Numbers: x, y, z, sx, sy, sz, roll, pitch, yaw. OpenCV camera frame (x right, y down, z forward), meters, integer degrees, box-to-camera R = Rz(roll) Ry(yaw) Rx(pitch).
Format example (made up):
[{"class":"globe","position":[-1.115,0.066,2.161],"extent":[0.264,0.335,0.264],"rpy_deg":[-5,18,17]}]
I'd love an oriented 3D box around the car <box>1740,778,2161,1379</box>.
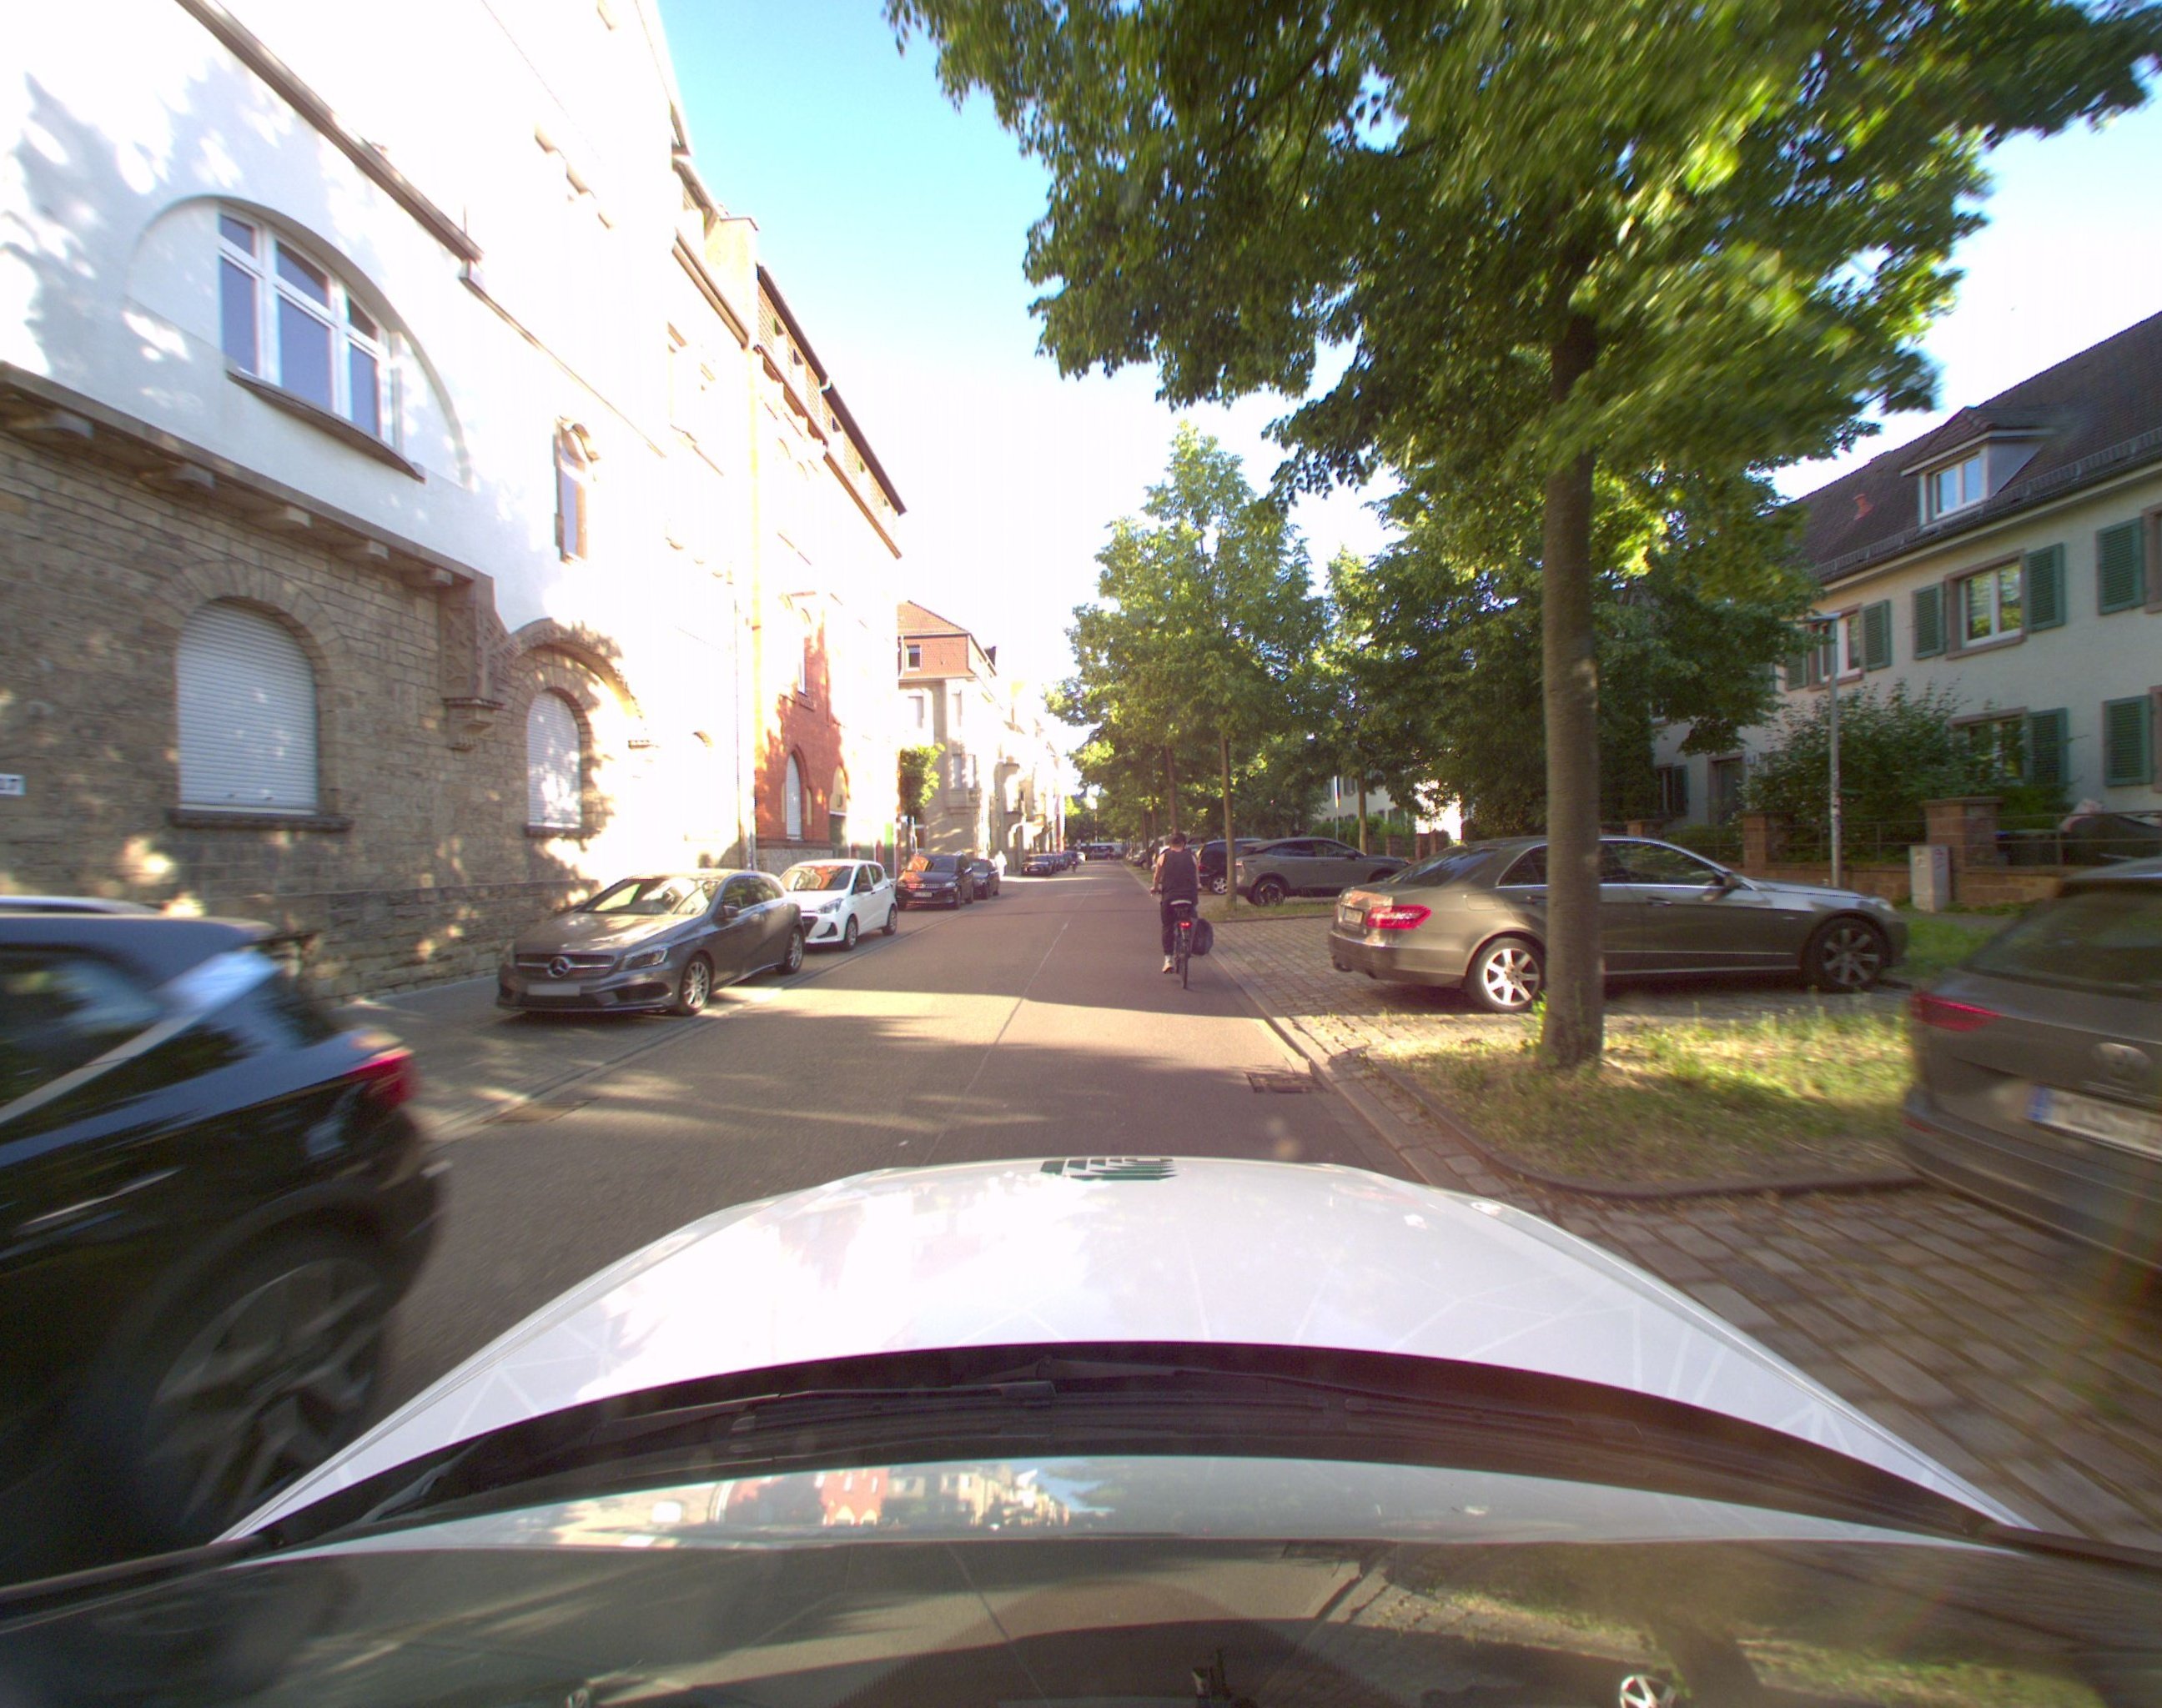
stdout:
[{"class":"car","position":[4.807,0.377,2.207],"extent":[4.459,1.435,1.829],"rpy_deg":[-5,0,1]}]

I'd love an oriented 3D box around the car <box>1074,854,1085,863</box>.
[{"class":"car","position":[-0.272,0.692,133.034],"extent":[1.577,1.375,4.134],"rpy_deg":[1,1,2]}]

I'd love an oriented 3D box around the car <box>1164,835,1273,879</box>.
[{"class":"car","position":[6.297,0.141,37.580],"extent":[4.530,1.633,1.810],"rpy_deg":[-5,0,-4]}]

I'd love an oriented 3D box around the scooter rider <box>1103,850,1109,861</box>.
[{"class":"scooter rider","position":[4.338,0.276,141.472],"extent":[0.869,1.841,0.670],"rpy_deg":[0,-1,-3]}]

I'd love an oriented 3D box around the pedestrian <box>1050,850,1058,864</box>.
[{"class":"pedestrian","position":[-3.377,0.409,103.669],"extent":[0.934,1.742,0.735],"rpy_deg":[0,-1,3]}]

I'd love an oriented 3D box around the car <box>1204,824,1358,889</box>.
[{"class":"car","position":[6.502,0.075,26.830],"extent":[4.562,1.677,1.909],"rpy_deg":[-5,0,3]}]

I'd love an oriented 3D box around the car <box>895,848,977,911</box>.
[{"class":"car","position":[-4.229,0.706,24.398],"extent":[1.664,1.681,4.349],"rpy_deg":[-1,0,0]}]

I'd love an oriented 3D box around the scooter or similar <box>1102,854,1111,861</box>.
[{"class":"scooter or similar","position":[4.397,0.627,141.469],"extent":[1.595,1.147,0.677],"rpy_deg":[0,-1,-4]}]

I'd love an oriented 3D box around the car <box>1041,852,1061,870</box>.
[{"class":"car","position":[-2.550,0.569,69.804],"extent":[1.624,1.453,3.837],"rpy_deg":[0,0,-1]}]

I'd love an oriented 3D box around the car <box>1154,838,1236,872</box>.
[{"class":"car","position":[6.633,0.058,47.745],"extent":[4.600,1.709,1.835],"rpy_deg":[-4,0,3]}]

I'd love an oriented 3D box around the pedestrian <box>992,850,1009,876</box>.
[{"class":"pedestrian","position":[-5.112,0.558,51.973],"extent":[0.884,1.577,1.054],"rpy_deg":[-3,1,2]}]

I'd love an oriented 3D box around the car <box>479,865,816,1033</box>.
[{"class":"car","position":[-4.642,0.896,9.521],"extent":[1.671,1.442,4.112],"rpy_deg":[0,1,1]}]

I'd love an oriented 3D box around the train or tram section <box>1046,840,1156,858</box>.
[{"class":"train or tram section","position":[4.365,-1.019,175.291],"extent":[23.889,3.708,4.256],"rpy_deg":[0,-1,-21]}]

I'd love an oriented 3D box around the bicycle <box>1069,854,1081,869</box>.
[{"class":"bicycle","position":[-0.457,0.570,60.384],"extent":[0.755,1.107,1.908],"rpy_deg":[-2,-1,2]}]

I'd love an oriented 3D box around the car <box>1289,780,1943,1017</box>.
[{"class":"car","position":[4.640,0.355,7.623],"extent":[4.822,1.539,1.894],"rpy_deg":[-5,0,-1]}]

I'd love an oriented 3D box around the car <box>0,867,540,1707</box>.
[{"class":"car","position":[-2.673,0.834,0.786],"extent":[1.621,1.477,3.761],"rpy_deg":[-3,0,2]}]

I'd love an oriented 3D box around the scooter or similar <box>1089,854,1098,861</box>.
[{"class":"scooter or similar","position":[2.223,0.664,144.823],"extent":[1.595,1.147,0.677],"rpy_deg":[0,-1,-4]}]

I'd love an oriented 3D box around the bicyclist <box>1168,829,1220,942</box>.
[{"class":"bicyclist","position":[1.685,0.462,12.297],"extent":[0.686,1.626,0.999],"rpy_deg":[-1,0,4]}]

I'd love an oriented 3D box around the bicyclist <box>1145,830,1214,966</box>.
[{"class":"bicyclist","position":[1.160,0.507,9.746],"extent":[0.727,1.547,0.884],"rpy_deg":[0,-1,1]}]

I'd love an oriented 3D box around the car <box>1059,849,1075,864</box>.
[{"class":"car","position":[-1.674,0.250,97.988],"extent":[1.634,1.783,4.357],"rpy_deg":[1,1,2]}]

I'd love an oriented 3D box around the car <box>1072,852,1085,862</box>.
[{"class":"car","position":[-0.331,0.375,115.412],"extent":[1.577,1.343,4.134],"rpy_deg":[1,1,2]}]

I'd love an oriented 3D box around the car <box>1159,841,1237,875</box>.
[{"class":"car","position":[6.464,0.204,45.348],"extent":[4.051,1.476,1.695],"rpy_deg":[-5,1,2]}]

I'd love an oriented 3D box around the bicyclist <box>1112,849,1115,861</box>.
[{"class":"bicyclist","position":[4.728,0.193,117.942],"extent":[0.484,1.744,0.656],"rpy_deg":[0,-1,2]}]

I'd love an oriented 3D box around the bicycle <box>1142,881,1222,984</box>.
[{"class":"bicycle","position":[1.156,0.867,9.687],"extent":[0.735,1.054,1.956],"rpy_deg":[0,-1,1]}]

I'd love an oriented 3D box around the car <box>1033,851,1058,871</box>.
[{"class":"car","position":[-2.692,0.509,62.229],"extent":[1.690,1.453,4.027],"rpy_deg":[-1,-1,0]}]

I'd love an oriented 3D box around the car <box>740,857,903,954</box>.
[{"class":"car","position":[-4.495,0.825,14.660],"extent":[1.559,1.470,3.595],"rpy_deg":[-1,1,4]}]

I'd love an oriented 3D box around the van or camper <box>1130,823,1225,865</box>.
[{"class":"van or camper","position":[7.561,-0.801,64.475],"extent":[7.116,2.647,2.467],"rpy_deg":[-5,0,3]}]

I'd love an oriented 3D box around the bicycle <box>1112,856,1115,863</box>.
[{"class":"bicycle","position":[4.726,0.812,117.821],"extent":[0.496,1.005,1.474],"rpy_deg":[-1,-2,2]}]

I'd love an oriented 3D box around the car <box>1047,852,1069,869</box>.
[{"class":"car","position":[-2.093,0.601,75.414],"extent":[1.669,1.430,4.553],"rpy_deg":[1,1,2]}]

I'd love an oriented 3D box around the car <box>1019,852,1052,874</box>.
[{"class":"car","position":[-3.057,0.592,55.908],"extent":[1.804,1.427,4.900],"rpy_deg":[1,0,2]}]

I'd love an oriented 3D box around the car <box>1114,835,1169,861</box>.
[{"class":"car","position":[8.048,-0.806,109.102],"extent":[7.126,2.978,2.463],"rpy_deg":[-3,0,-1]}]

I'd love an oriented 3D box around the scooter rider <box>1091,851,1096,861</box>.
[{"class":"scooter rider","position":[2.184,0.313,144.831],"extent":[0.869,1.841,0.670],"rpy_deg":[0,-1,-3]}]

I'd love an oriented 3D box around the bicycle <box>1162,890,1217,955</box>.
[{"class":"bicycle","position":[1.615,1.005,12.372],"extent":[0.631,0.799,1.833],"rpy_deg":[-2,0,2]}]

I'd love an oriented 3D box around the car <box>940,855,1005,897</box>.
[{"class":"car","position":[-3.915,0.771,29.965],"extent":[1.629,1.410,4.335],"rpy_deg":[1,0,2]}]

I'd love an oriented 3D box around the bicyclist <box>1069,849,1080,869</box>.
[{"class":"bicyclist","position":[-0.462,0.349,60.393],"extent":[0.757,1.454,0.949],"rpy_deg":[-2,-1,1]}]

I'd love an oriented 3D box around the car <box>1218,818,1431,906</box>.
[{"class":"car","position":[5.729,0.177,19.557],"extent":[4.460,1.633,1.875],"rpy_deg":[-5,0,0]}]
